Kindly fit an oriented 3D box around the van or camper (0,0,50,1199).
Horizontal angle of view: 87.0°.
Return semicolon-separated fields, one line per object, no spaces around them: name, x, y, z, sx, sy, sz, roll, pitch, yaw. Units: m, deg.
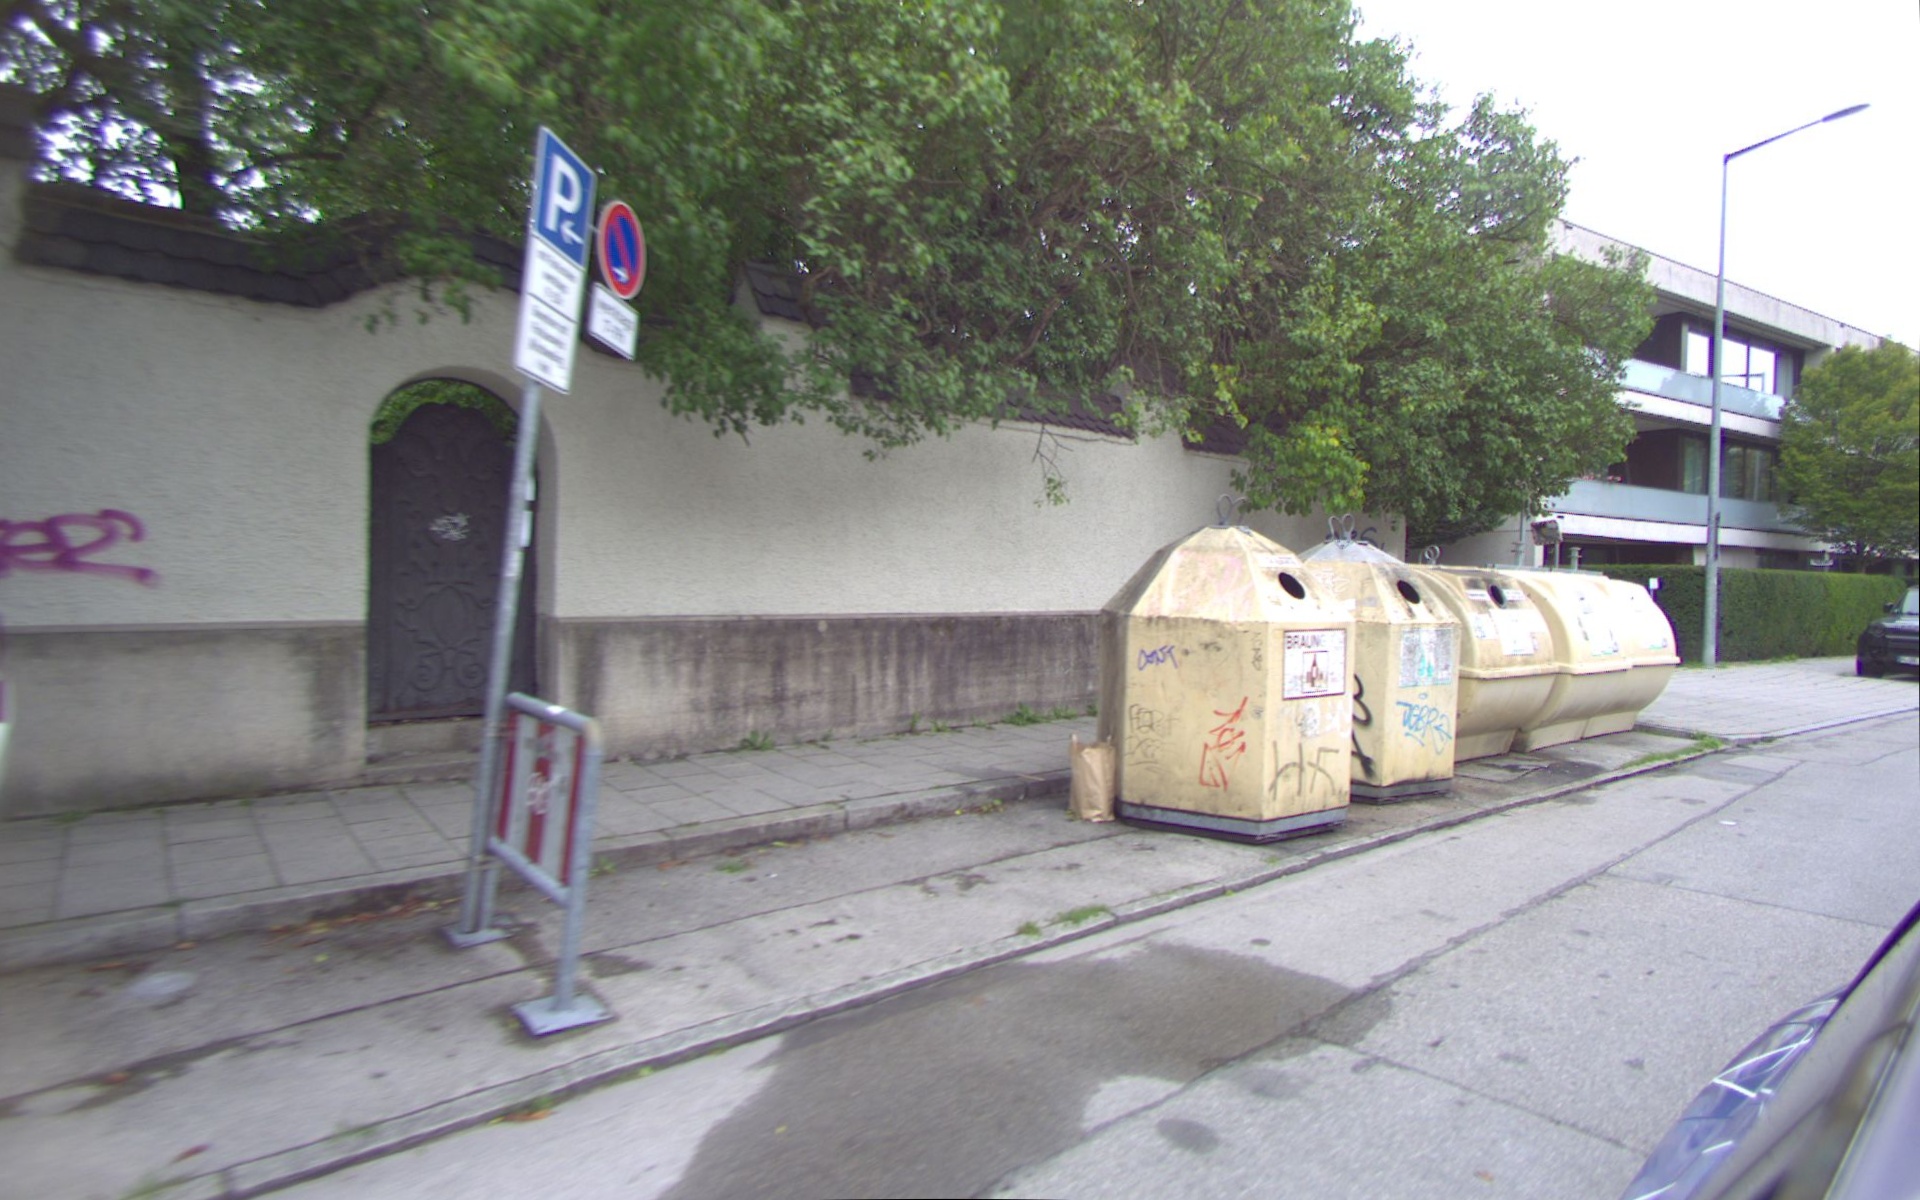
van or camper;-4.997;-0.199;0.156;7.150;2.942;2.276;0;2;-42

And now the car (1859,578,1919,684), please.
car;19.351;0.554;19.297;4.978;1.894;1.996;0;1;-32
